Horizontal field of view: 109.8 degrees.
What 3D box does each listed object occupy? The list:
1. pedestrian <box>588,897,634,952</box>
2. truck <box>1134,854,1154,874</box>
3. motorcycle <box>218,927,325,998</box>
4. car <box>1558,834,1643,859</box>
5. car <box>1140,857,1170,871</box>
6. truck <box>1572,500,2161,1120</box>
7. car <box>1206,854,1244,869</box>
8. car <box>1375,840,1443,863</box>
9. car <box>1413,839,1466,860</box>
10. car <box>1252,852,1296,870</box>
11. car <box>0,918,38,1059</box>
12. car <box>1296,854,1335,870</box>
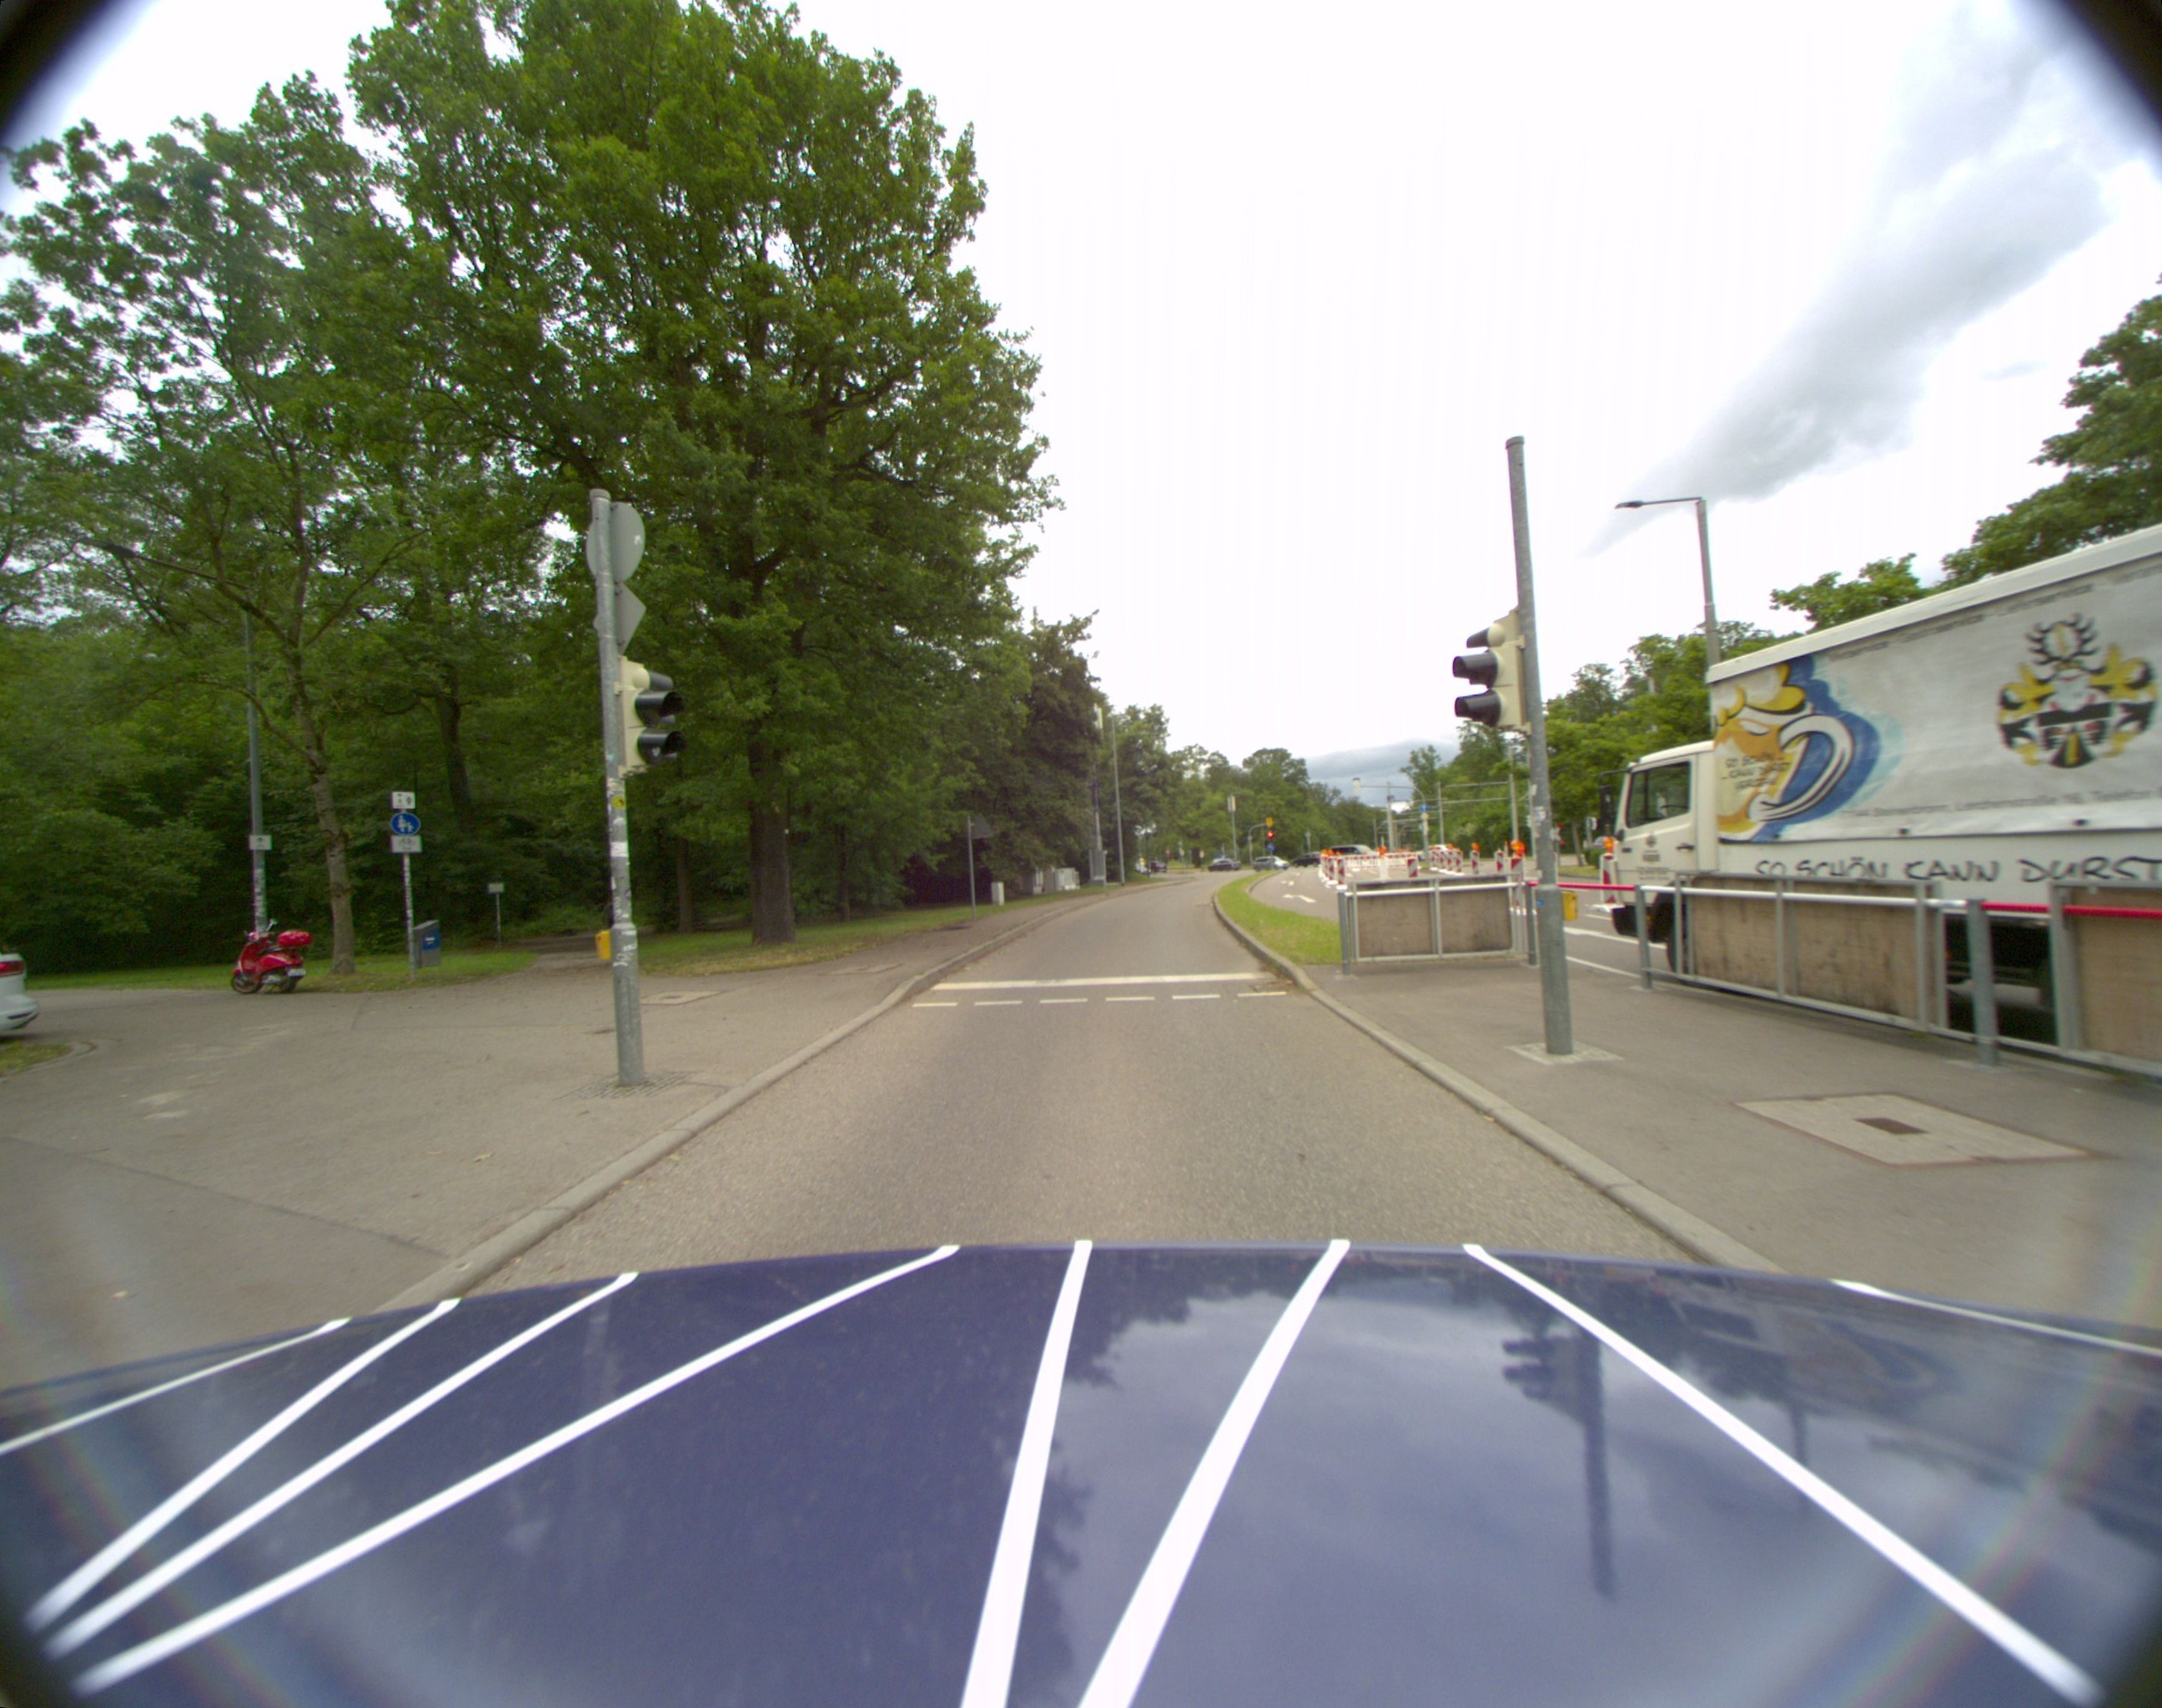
[{"bbox_3d":[-15.195,2.271,24.601,0.833,1.641,1.035,-4,0,-9],"label":"pedestrian"},{"bbox_3d":[10.674,1.624,128.324,2.745,3.192,6.677,-4,0,7],"label":"truck"},{"bbox_3d":[-14.980,2.013,14.058,1.953,1.197,0.591,-4,0,20],"label":"motorcycle"},{"bbox_3d":[35.528,-0.501,52.087,1.799,1.428,4.381,-4,0,-33],"label":"car"},{"bbox_3d":[10.511,1.486,108.386,2.002,1.717,4.464,-4,0,-28],"label":"car"},{"bbox_3d":[6.928,-0.253,5.540,2.635,3.219,6.206,-1,0,0],"label":"truck"},{"bbox_3d":[17.857,0.968,94.380,1.884,1.586,4.441,-4,0,-38],"label":"car"},{"bbox_3d":[27.970,-0.171,64.950,1.961,1.578,4.899,-4,0,-34],"label":"car"},{"bbox_3d":[33.480,-0.426,71.028,1.862,1.642,4.039,-4,0,-32],"label":"car"},{"bbox_3d":[19.583,0.712,77.253,1.901,1.630,3.975,-4,0,-31],"label":"car"},{"bbox_3d":[-13.903,1.632,7.206,1.995,1.543,4.428,-4,0,28],"label":"car"},{"bbox_3d":[25.424,0.895,82.558,1.665,1.330,3.834,-9,2,-30],"label":"car"}]
